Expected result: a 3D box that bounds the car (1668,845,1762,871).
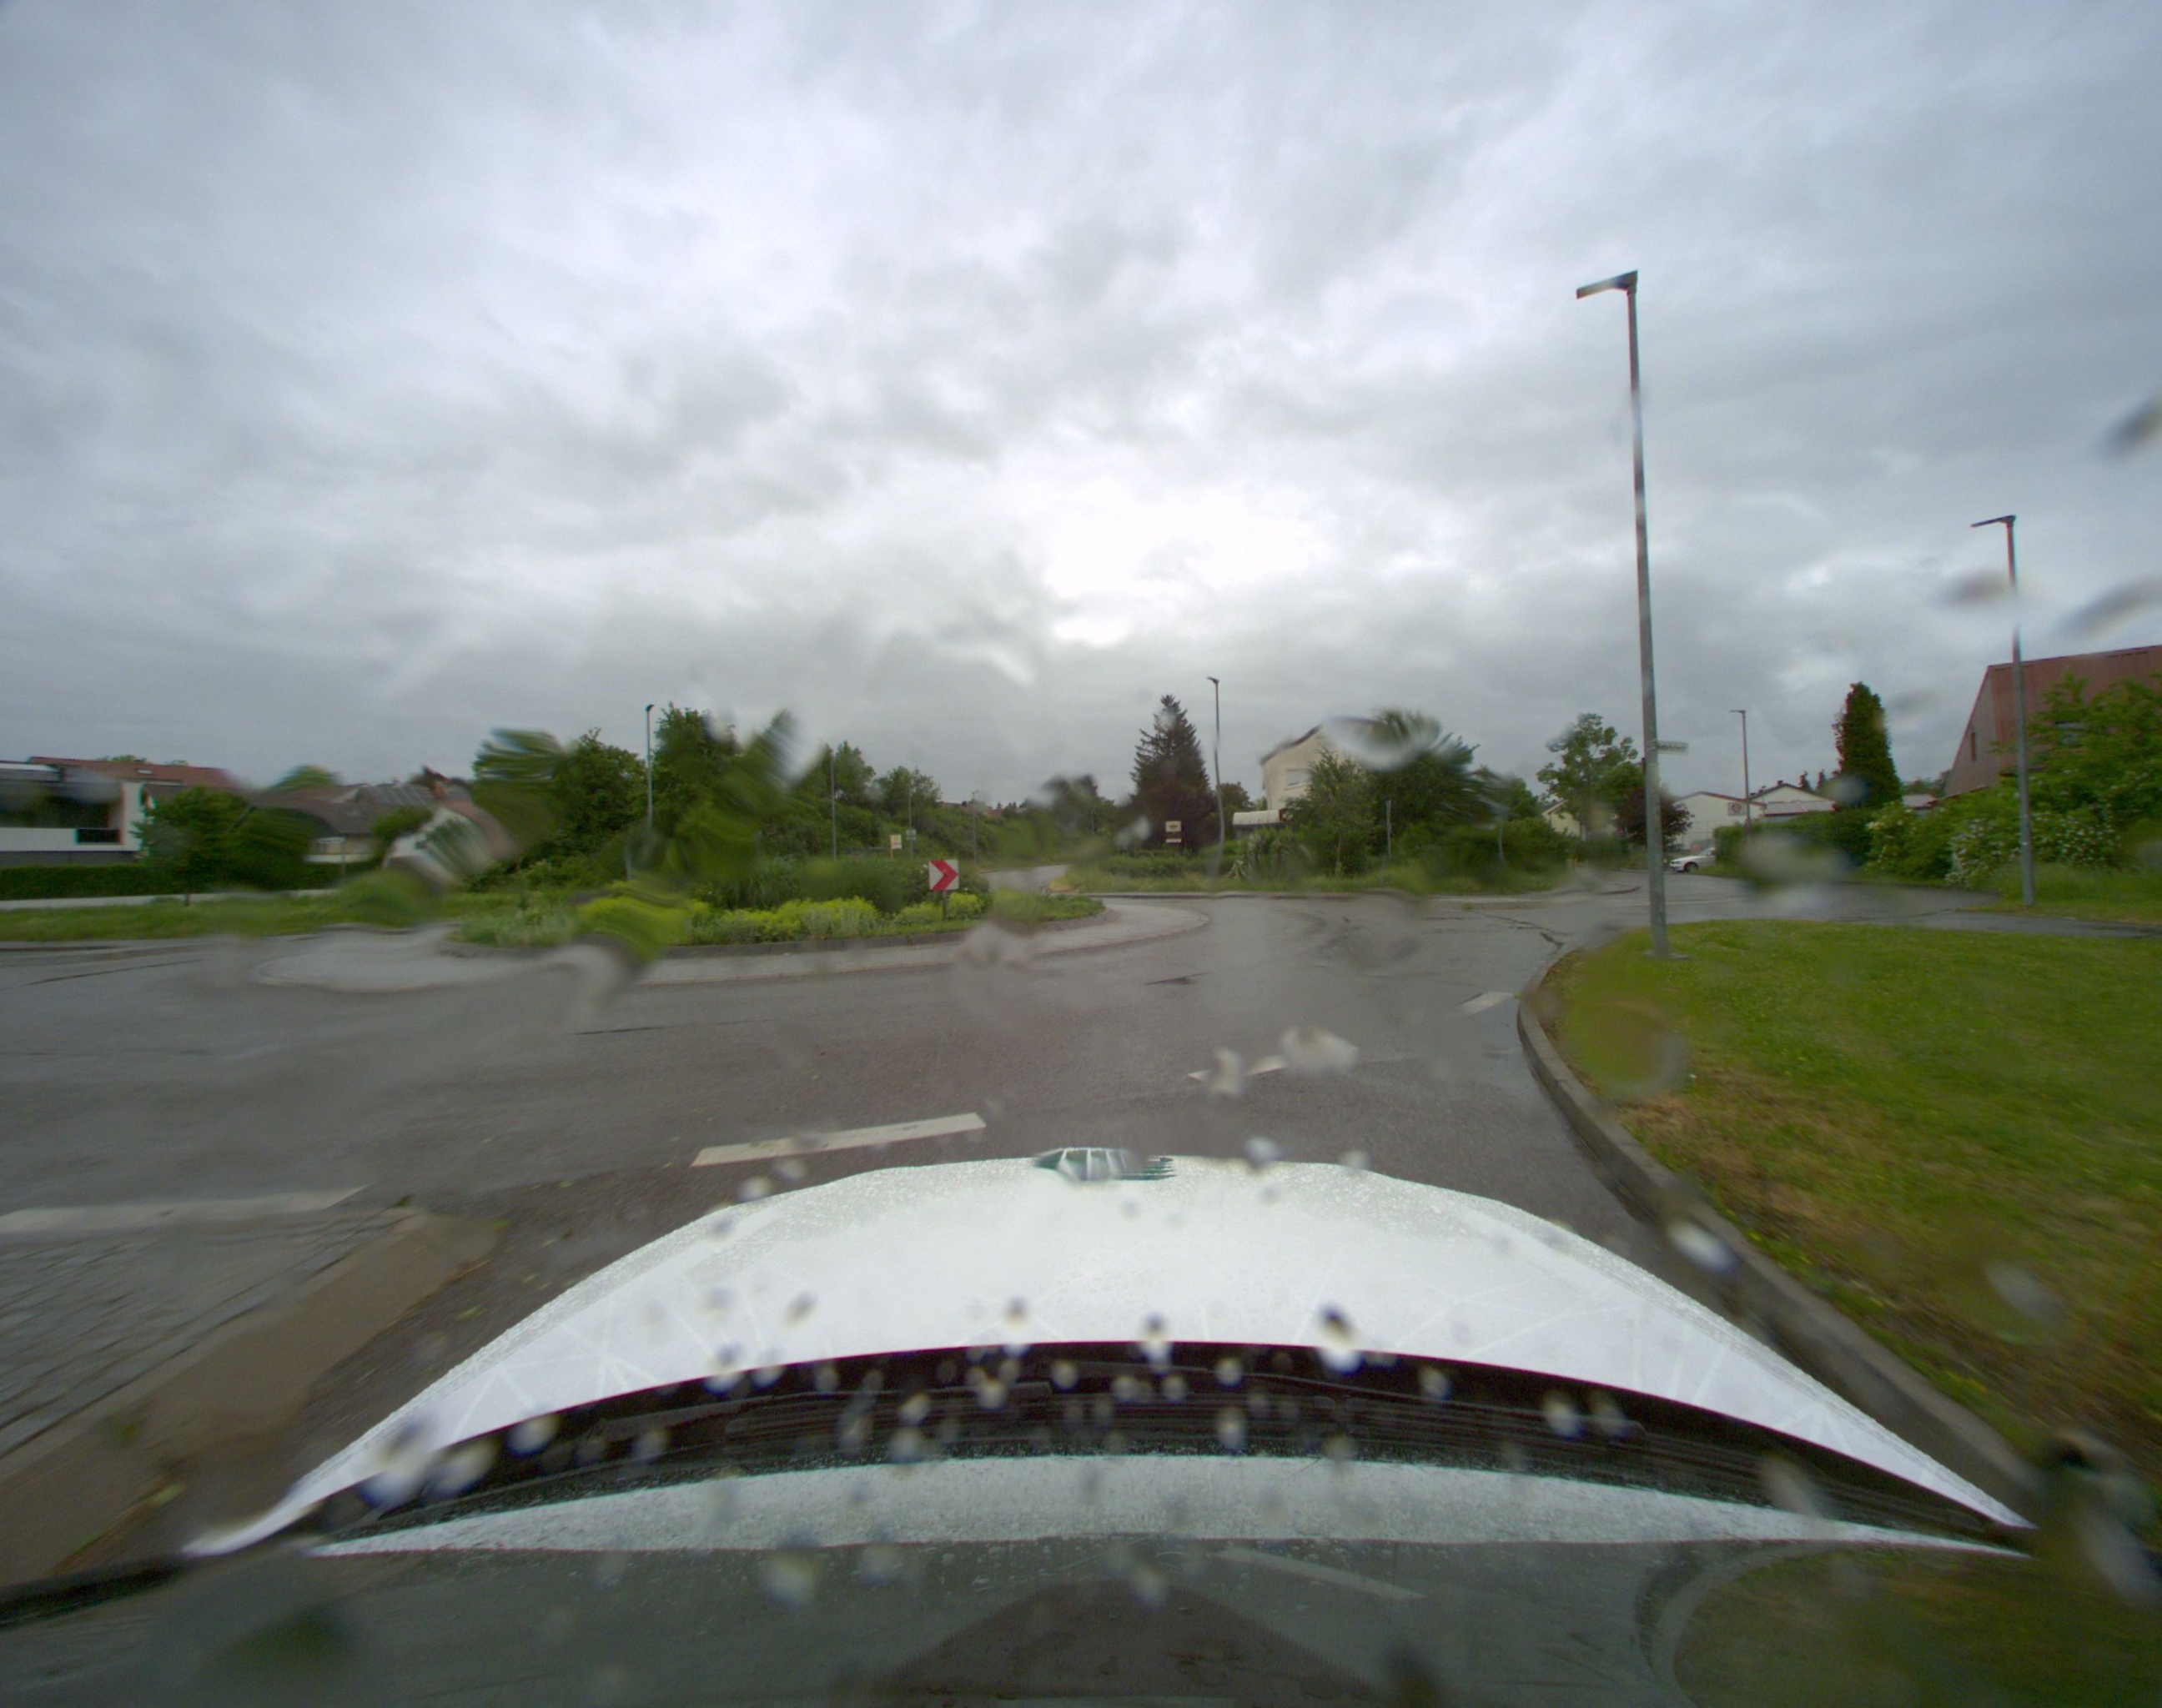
[{"bbox_3d":[36.796,0.243,47.407,3.952,1.374,1.794,-2,-1,23],"label":"car"}]
